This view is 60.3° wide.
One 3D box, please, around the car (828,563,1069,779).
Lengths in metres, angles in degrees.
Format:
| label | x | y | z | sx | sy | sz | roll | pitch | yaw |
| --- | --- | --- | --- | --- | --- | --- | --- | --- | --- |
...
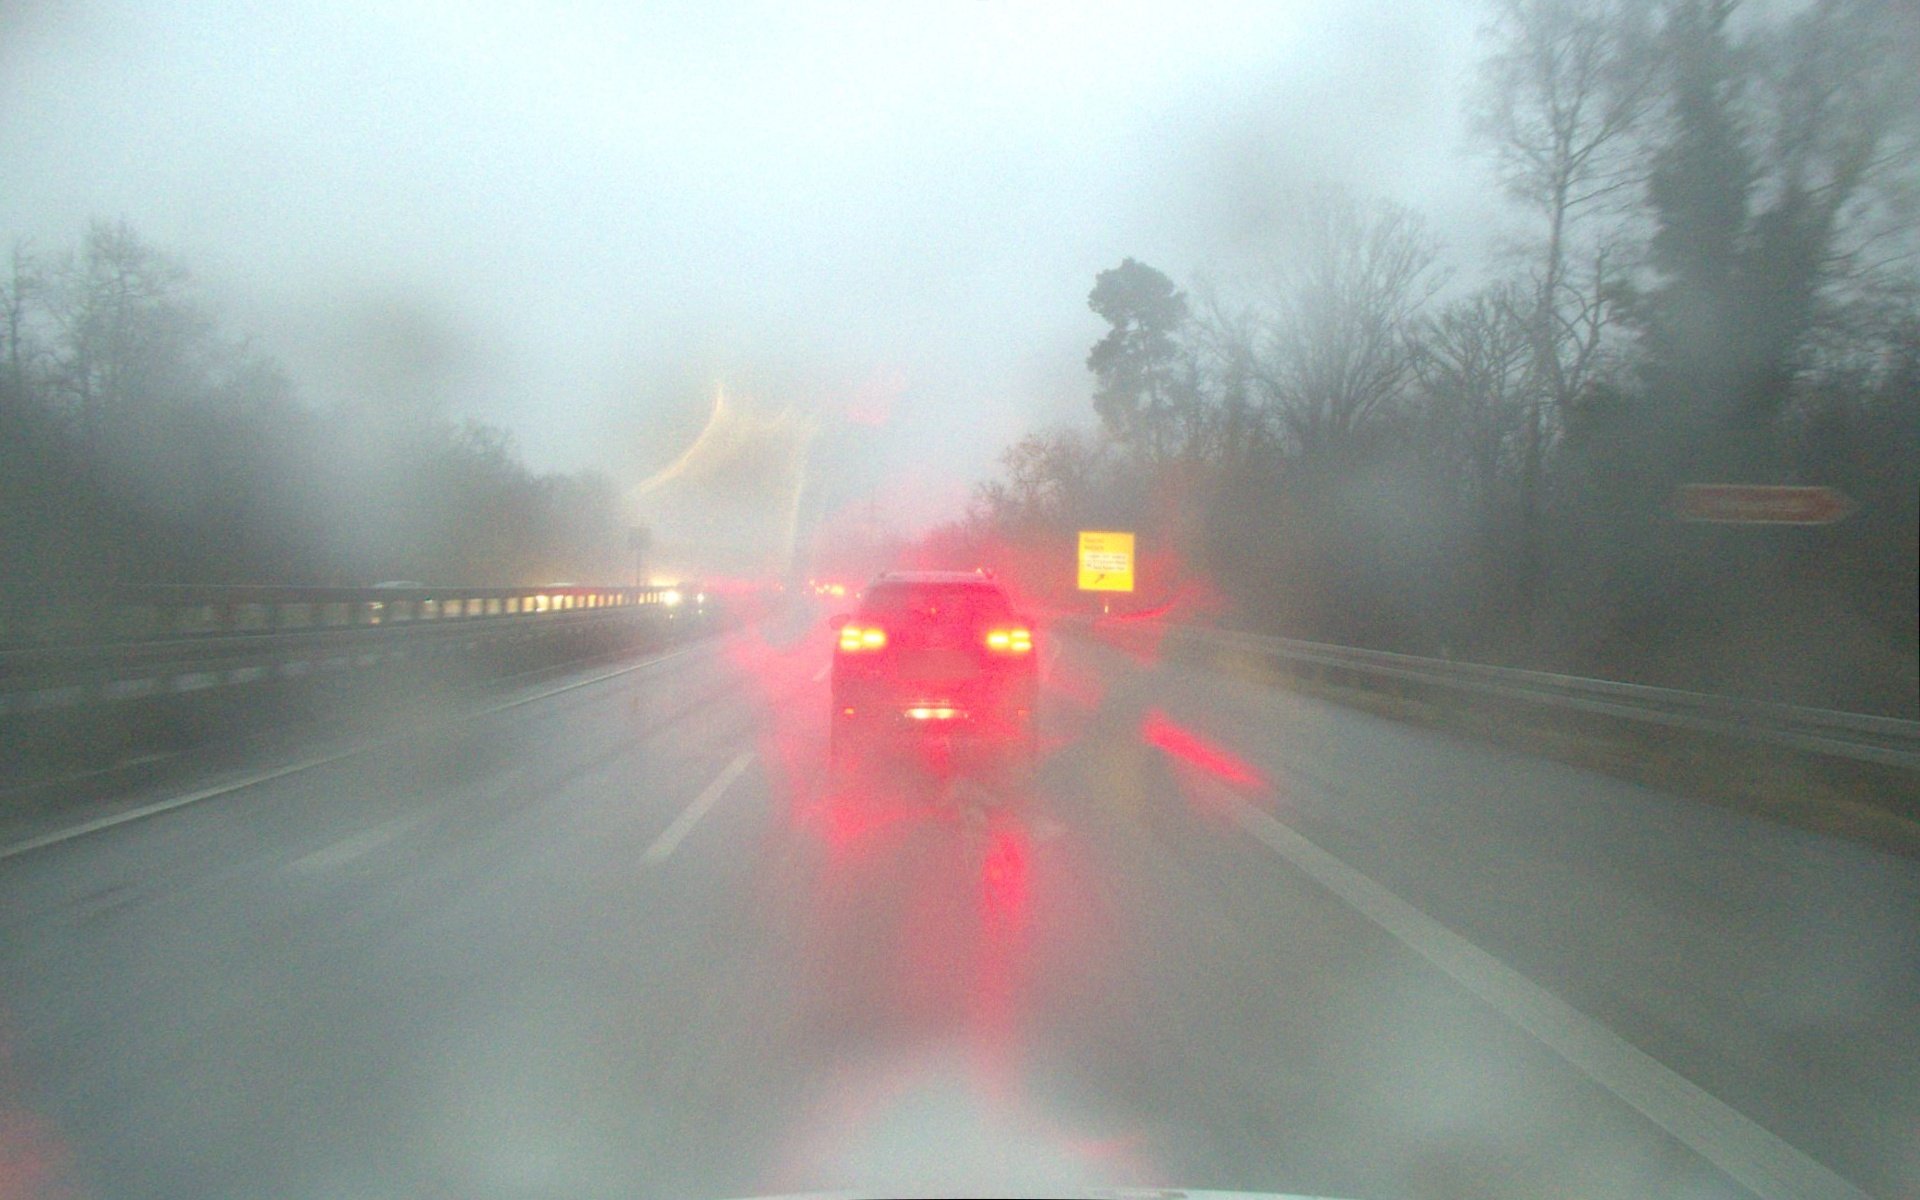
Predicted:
| label | x | y | z | sx | sy | sz | roll | pitch | yaw |
| --- | --- | --- | --- | --- | --- | --- | --- | --- | --- |
| car | -0.176 | 0.580 | 15.483 | 1.952 | 1.745 | 3.828 | 1 | 0 | -3 |

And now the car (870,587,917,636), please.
| label | x | y | z | sx | sy | sz | roll | pitch | yaw |
| --- | --- | --- | --- | --- | --- | --- | --- | --- | --- |
| car | -2.874 | 0.480 | 71.740 | 1.953 | 2.049 | 3.999 | 1 | 0 | -2 |
